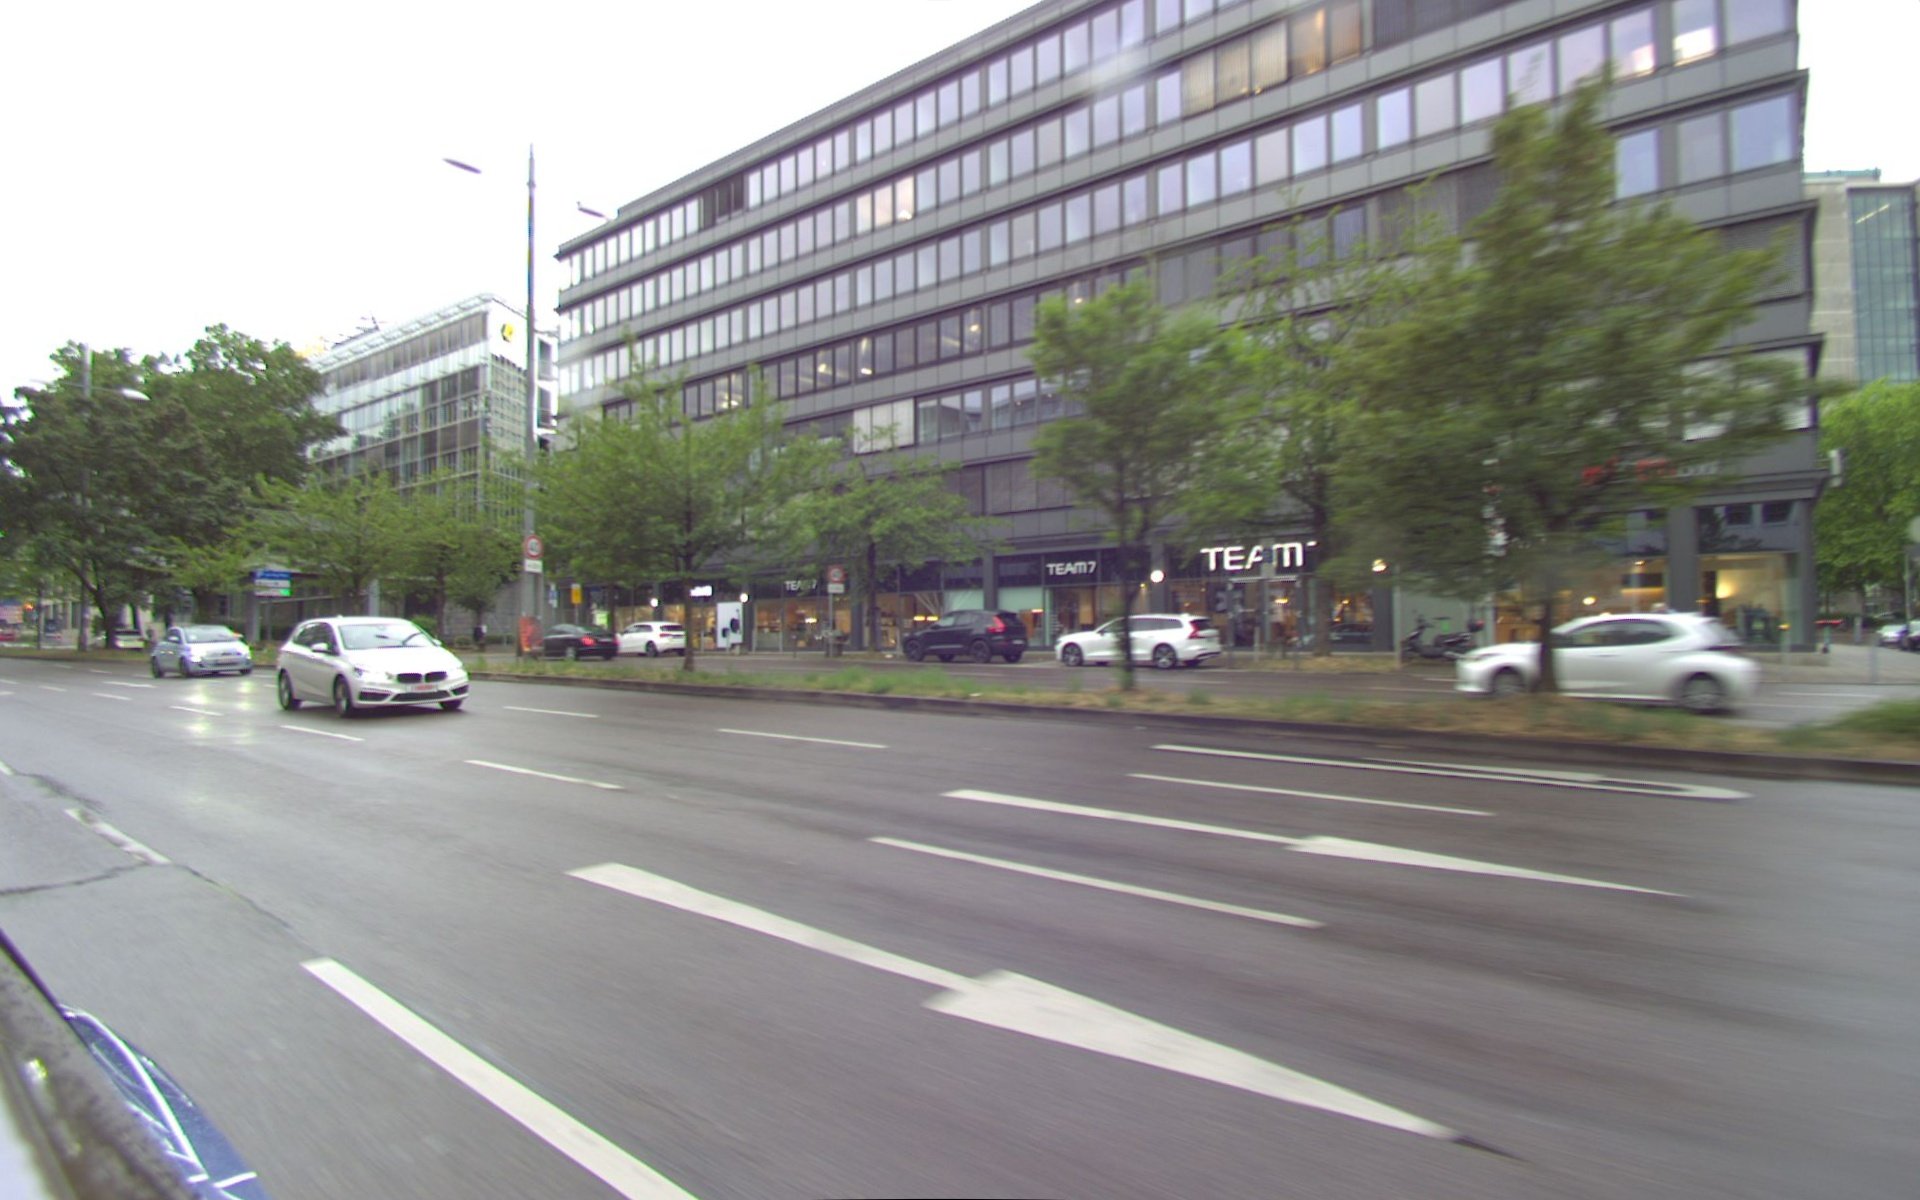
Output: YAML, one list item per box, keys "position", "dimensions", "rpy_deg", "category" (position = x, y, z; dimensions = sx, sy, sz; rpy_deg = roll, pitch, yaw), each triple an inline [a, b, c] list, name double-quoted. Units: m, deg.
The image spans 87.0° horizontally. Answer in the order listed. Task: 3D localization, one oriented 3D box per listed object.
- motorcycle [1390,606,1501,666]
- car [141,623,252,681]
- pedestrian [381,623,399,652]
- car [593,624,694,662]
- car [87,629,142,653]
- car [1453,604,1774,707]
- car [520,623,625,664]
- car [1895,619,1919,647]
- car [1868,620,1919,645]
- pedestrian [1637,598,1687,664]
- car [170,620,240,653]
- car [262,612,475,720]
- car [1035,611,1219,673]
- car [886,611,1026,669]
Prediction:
- position: [12.080, 0.897, 25.269]
  dimensions: [2.345, 1.404, 0.856]
  rpy_deg: [-1, 2, 12]
  category: "motorcycle"
- position: [-22.712, 1.508, 30.078]
  dimensions: [3.686, 1.585, 1.766]
  rpy_deg: [-2, -2, 38]
  category: "car"
- position: [-37.834, 2.481, 67.162]
  dimensions: [0.924, 1.846, 0.720]
  rpy_deg: [-1, -1, 38]
  category: "pedestrian"
- position: [-13.217, 1.776, 42.214]
  dimensions: [4.301, 1.455, 1.793]
  rpy_deg: [-2, 0, 36]
  category: "car"
- position: [-53.689, 2.592, 64.237]
  dimensions: [4.305, 1.445, 1.712]
  rpy_deg: [-2, -2, 37]
  category: "car"
- position: [10.252, 0.825, 16.083]
  dimensions: [4.076, 1.442, 1.667]
  rpy_deg: [-2, -1, 37]
  category: "car"
- position: [-14.987, 1.661, 39.043]
  dimensions: [4.293, 1.487, 1.792]
  rpy_deg: [-2, -2, 37]
  category: "car"
- position: [47.559, 1.604, 49.841]
  dimensions: [1.845, 1.298, 3.949]
  rpy_deg: [-1, 0, 38]
  category: "car"
- position: [54.538, 1.869, 59.198]
  dimensions: [1.845, 1.298, 3.949]
  rpy_deg: [-1, 0, 38]
  category: "car"
- position: [18.094, 0.793, 26.077]
  dimensions: [0.964, 1.650, 0.776]
  rpy_deg: [-2, -2, 38]
  category: "pedestrian"
- position: [-41.064, 1.952, 55.003]
  dimensions: [4.709, 1.527, 1.792]
  rpy_deg: [2, 0, 37]
  category: "car"
- position: [-9.980, 1.028, 16.940]
  dimensions: [4.284, 1.585, 1.765]
  rpy_deg: [-2, -2, 40]
  category: "car"
- position: [4.574, 1.132, 28.196]
  dimensions: [4.767, 1.496, 1.791]
  rpy_deg: [-2, 2, 39]
  category: "car"
- position: [-0.166, 1.252, 32.096]
  dimensions: [4.307, 1.673, 1.790]
  rpy_deg: [-2, 0, 40]
  category: "car"
